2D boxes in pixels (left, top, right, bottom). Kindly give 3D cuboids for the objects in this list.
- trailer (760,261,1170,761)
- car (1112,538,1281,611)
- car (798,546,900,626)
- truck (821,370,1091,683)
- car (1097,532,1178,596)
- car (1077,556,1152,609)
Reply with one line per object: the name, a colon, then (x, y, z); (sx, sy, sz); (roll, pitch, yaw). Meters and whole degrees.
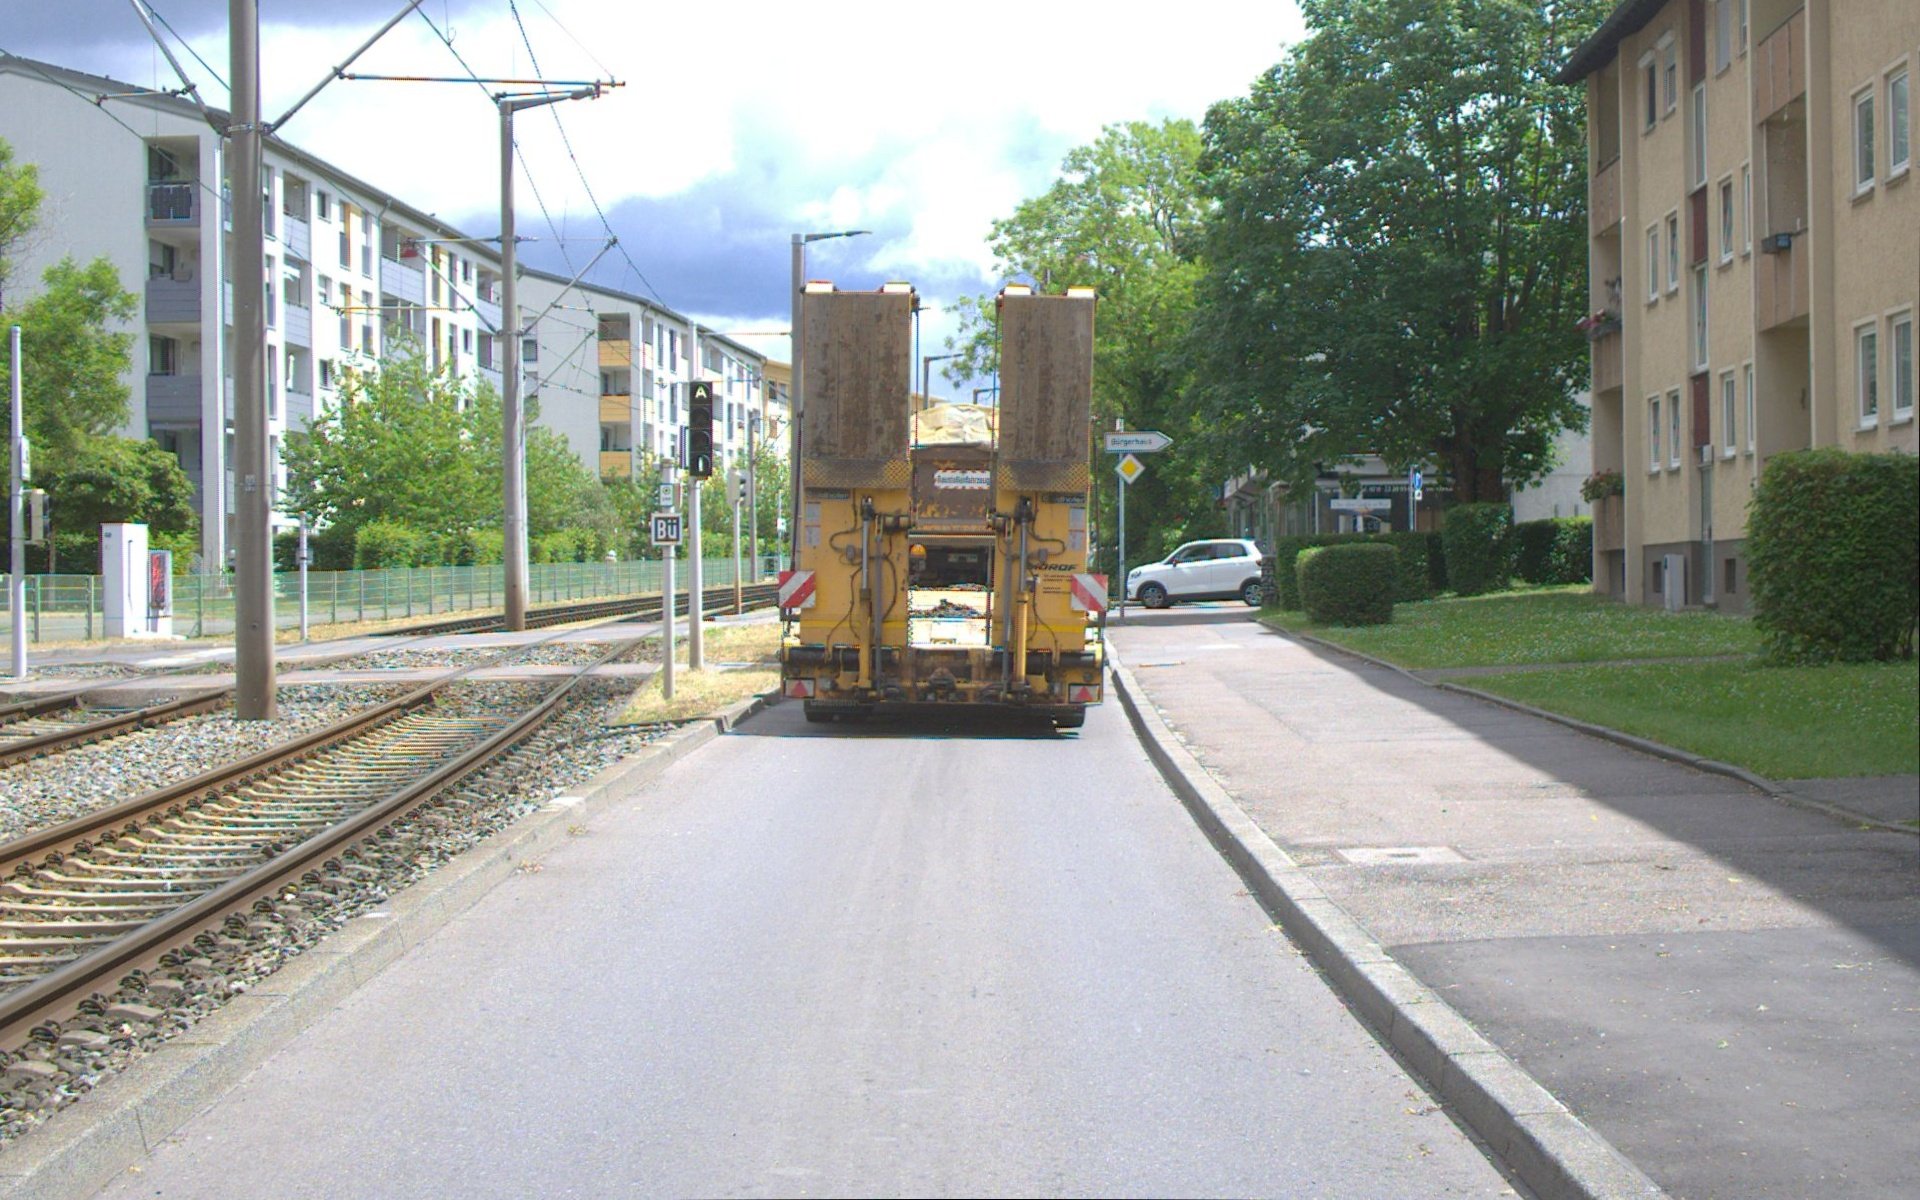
trailer: (-0.067, -0.853, 32.310); (3.050, 3.759, 11.614); (-2, 2, -1)
car: (5.505, -0.594, 79.881); (3.600, 1.579, 1.999); (-1, 0, 14)
car: (-2.420, -0.306, 75.688); (1.802, 1.646, 4.131); (-2, 0, 4)
truck: (-0.118, -0.915, 41.362); (2.833, 3.319, 7.985); (-2, 2, -1)
car: (4.824, -1.009, 93.856); (1.993, 1.612, 4.000); (-2, 2, 1)
car: (4.434, -0.523, 99.005); (1.993, 1.382, 4.000); (-2, 2, 1)
